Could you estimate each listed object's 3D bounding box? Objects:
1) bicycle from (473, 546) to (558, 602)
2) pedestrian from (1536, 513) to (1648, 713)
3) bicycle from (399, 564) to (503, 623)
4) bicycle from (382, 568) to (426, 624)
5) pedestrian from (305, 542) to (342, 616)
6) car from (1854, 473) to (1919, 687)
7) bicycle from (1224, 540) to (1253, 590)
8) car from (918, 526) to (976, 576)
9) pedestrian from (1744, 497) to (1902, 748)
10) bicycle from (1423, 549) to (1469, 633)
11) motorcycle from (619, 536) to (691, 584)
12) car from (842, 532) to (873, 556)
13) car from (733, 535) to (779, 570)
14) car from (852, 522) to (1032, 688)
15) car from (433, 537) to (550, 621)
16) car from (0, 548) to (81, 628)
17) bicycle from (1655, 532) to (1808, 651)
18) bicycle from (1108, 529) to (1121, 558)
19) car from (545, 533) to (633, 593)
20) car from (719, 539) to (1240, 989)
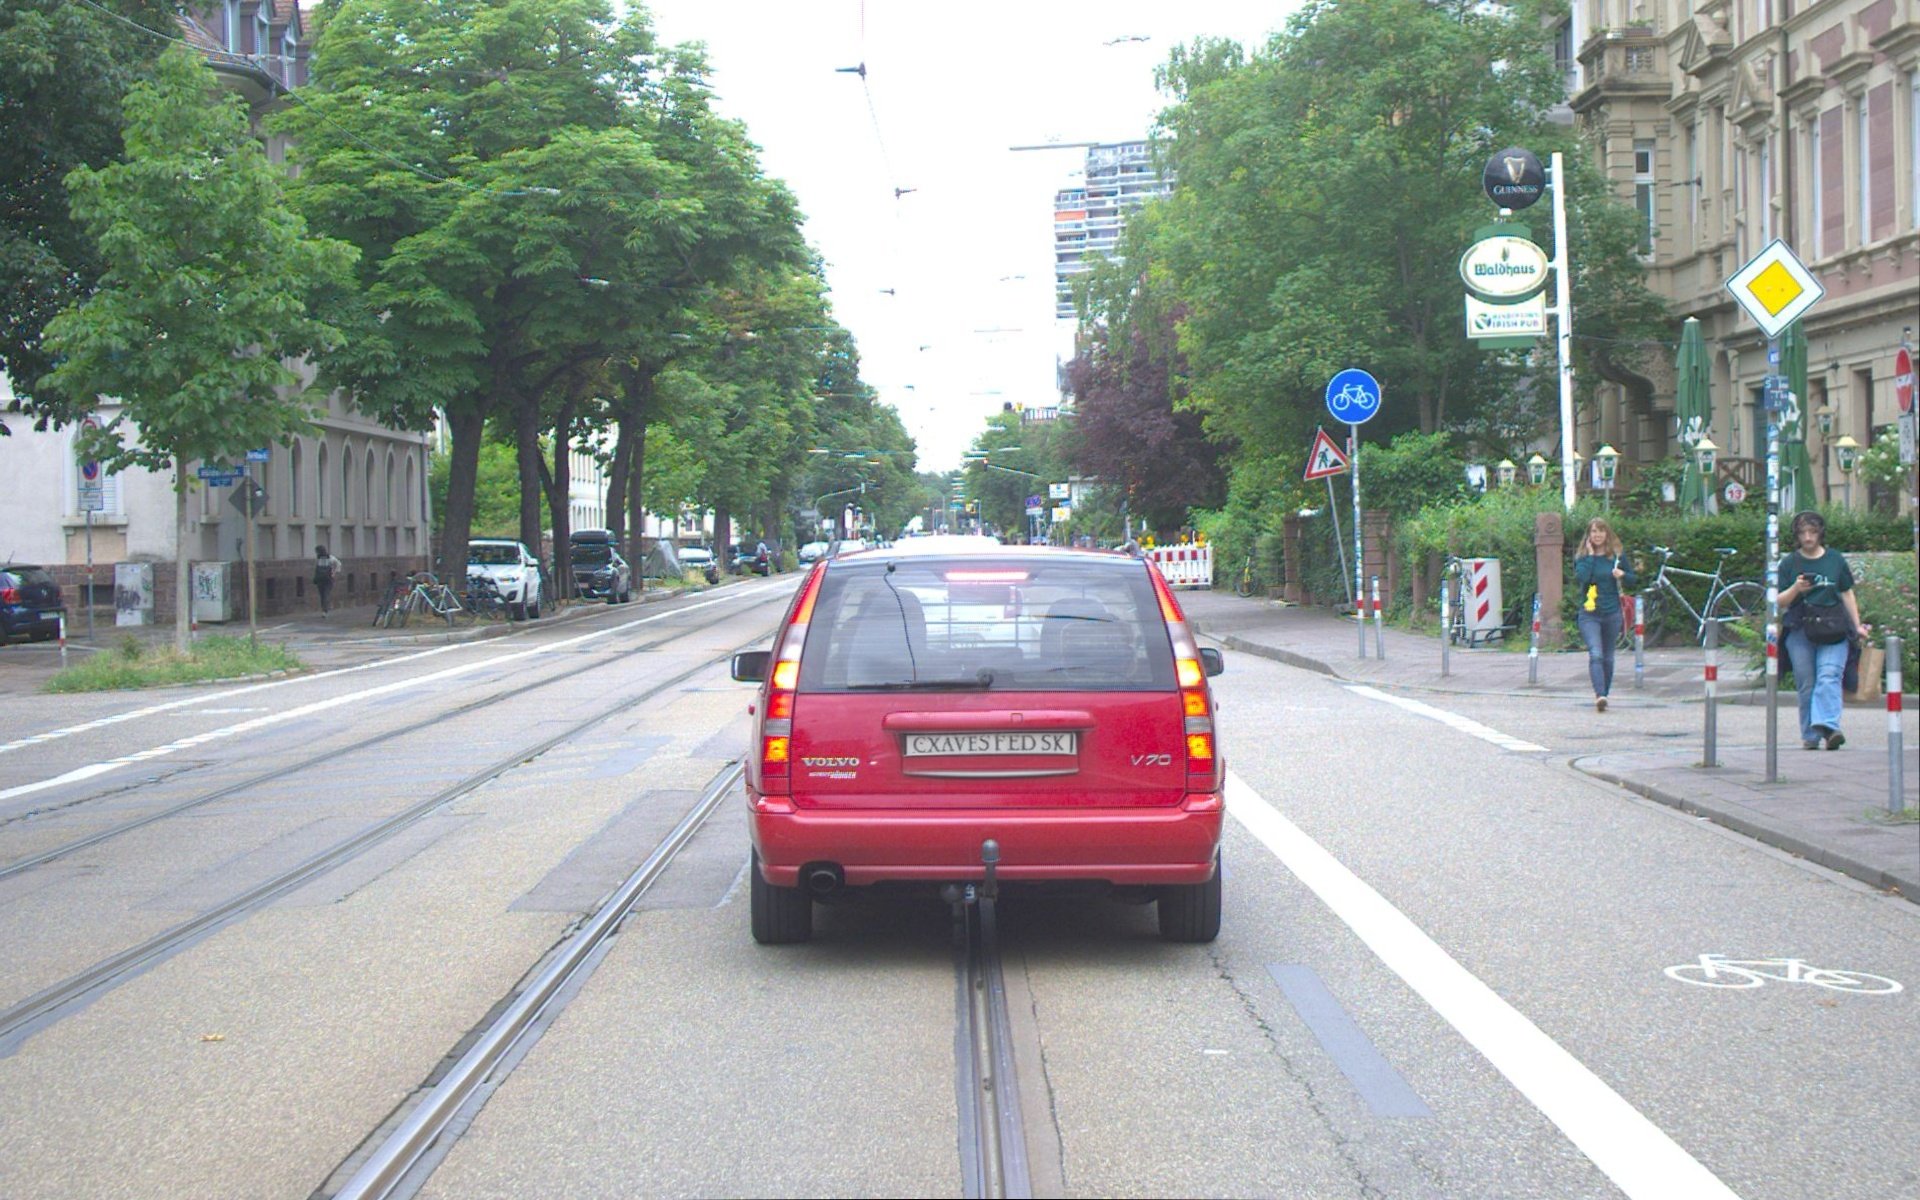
[{"bbox_3d":[-9.791,-0.575,75.751,1.744,1.188,0.652,1,1,14],"label":"bicycle"},{"bbox_3d":[5.314,0.101,28.880,0.873,1.650,0.908,-1,1,12],"label":"pedestrian"},{"bbox_3d":[-9.863,-0.123,66.652,1.922,1.117,0.624,1,1,0],"label":"bicycle"},{"bbox_3d":[-9.834,-0.073,60.842,0.483,0.955,1.398,-1,1,2],"label":"bicycle"},{"bbox_3d":[-12.756,-0.431,68.892,0.564,1.462,0.723,-1,1,0],"label":"pedestrian"},{"bbox_3d":[9.498,-0.241,32.315,2.053,1.871,5.026,-1,1,15],"label":"car"},{"bbox_3d":[6.020,-0.761,74.290,0.479,1.041,1.531,-1,1,0],"label":"bicycle"},{"bbox_3d":[-0.447,-1.617,112.334,1.741,1.600,4.001,-1,1,-2],"label":"car"},{"bbox_3d":[5.799,0.141,23.137,0.793,1.630,0.836,-2,1,0],"label":"pedestrian"},{"bbox_3d":[6.174,-0.126,43.689,0.301,1.038,1.848,-1,1,0],"label":"bicycle"},{"bbox_3d":[-9.870,-1.291,111.332,2.269,1.506,0.925,0,-1,35],"label":"motorcycle"},{"bbox_3d":[-6.073,-3.304,203.161,1.755,1.375,4.027,-1,1,-1],"label":"car"},{"bbox_3d":[-9.256,-2.192,156.503,1.851,1.557,3.943,-1,1,0],"label":"car"},{"bbox_3d":[-0.139,0.009,35.884,1.719,1.619,3.941,-1,1,2],"label":"car"},{"bbox_3d":[-9.549,-0.446,70.338,1.897,1.650,4.226,0,1,-1],"label":"car"},{"bbox_3d":[-17.039,-0.186,58.459,3.753,1.302,1.739,-1,1,23],"label":"car"},{"bbox_3d":[8.415,-0.093,37.552,1.605,1.273,0.513,-1,1,12],"label":"bicycle"},{"bbox_3d":[7.503,-2.735,167.064,0.551,1.395,1.734,-1,1,0],"label":"bicycle"},{"bbox_3d":[-9.626,-0.979,89.480,1.777,1.505,4.238,0,1,1],"label":"car"},{"bbox_3d":[0.052,0.500,13.041,1.689,1.436,3.743,0,1,0],"label":"car"}]
